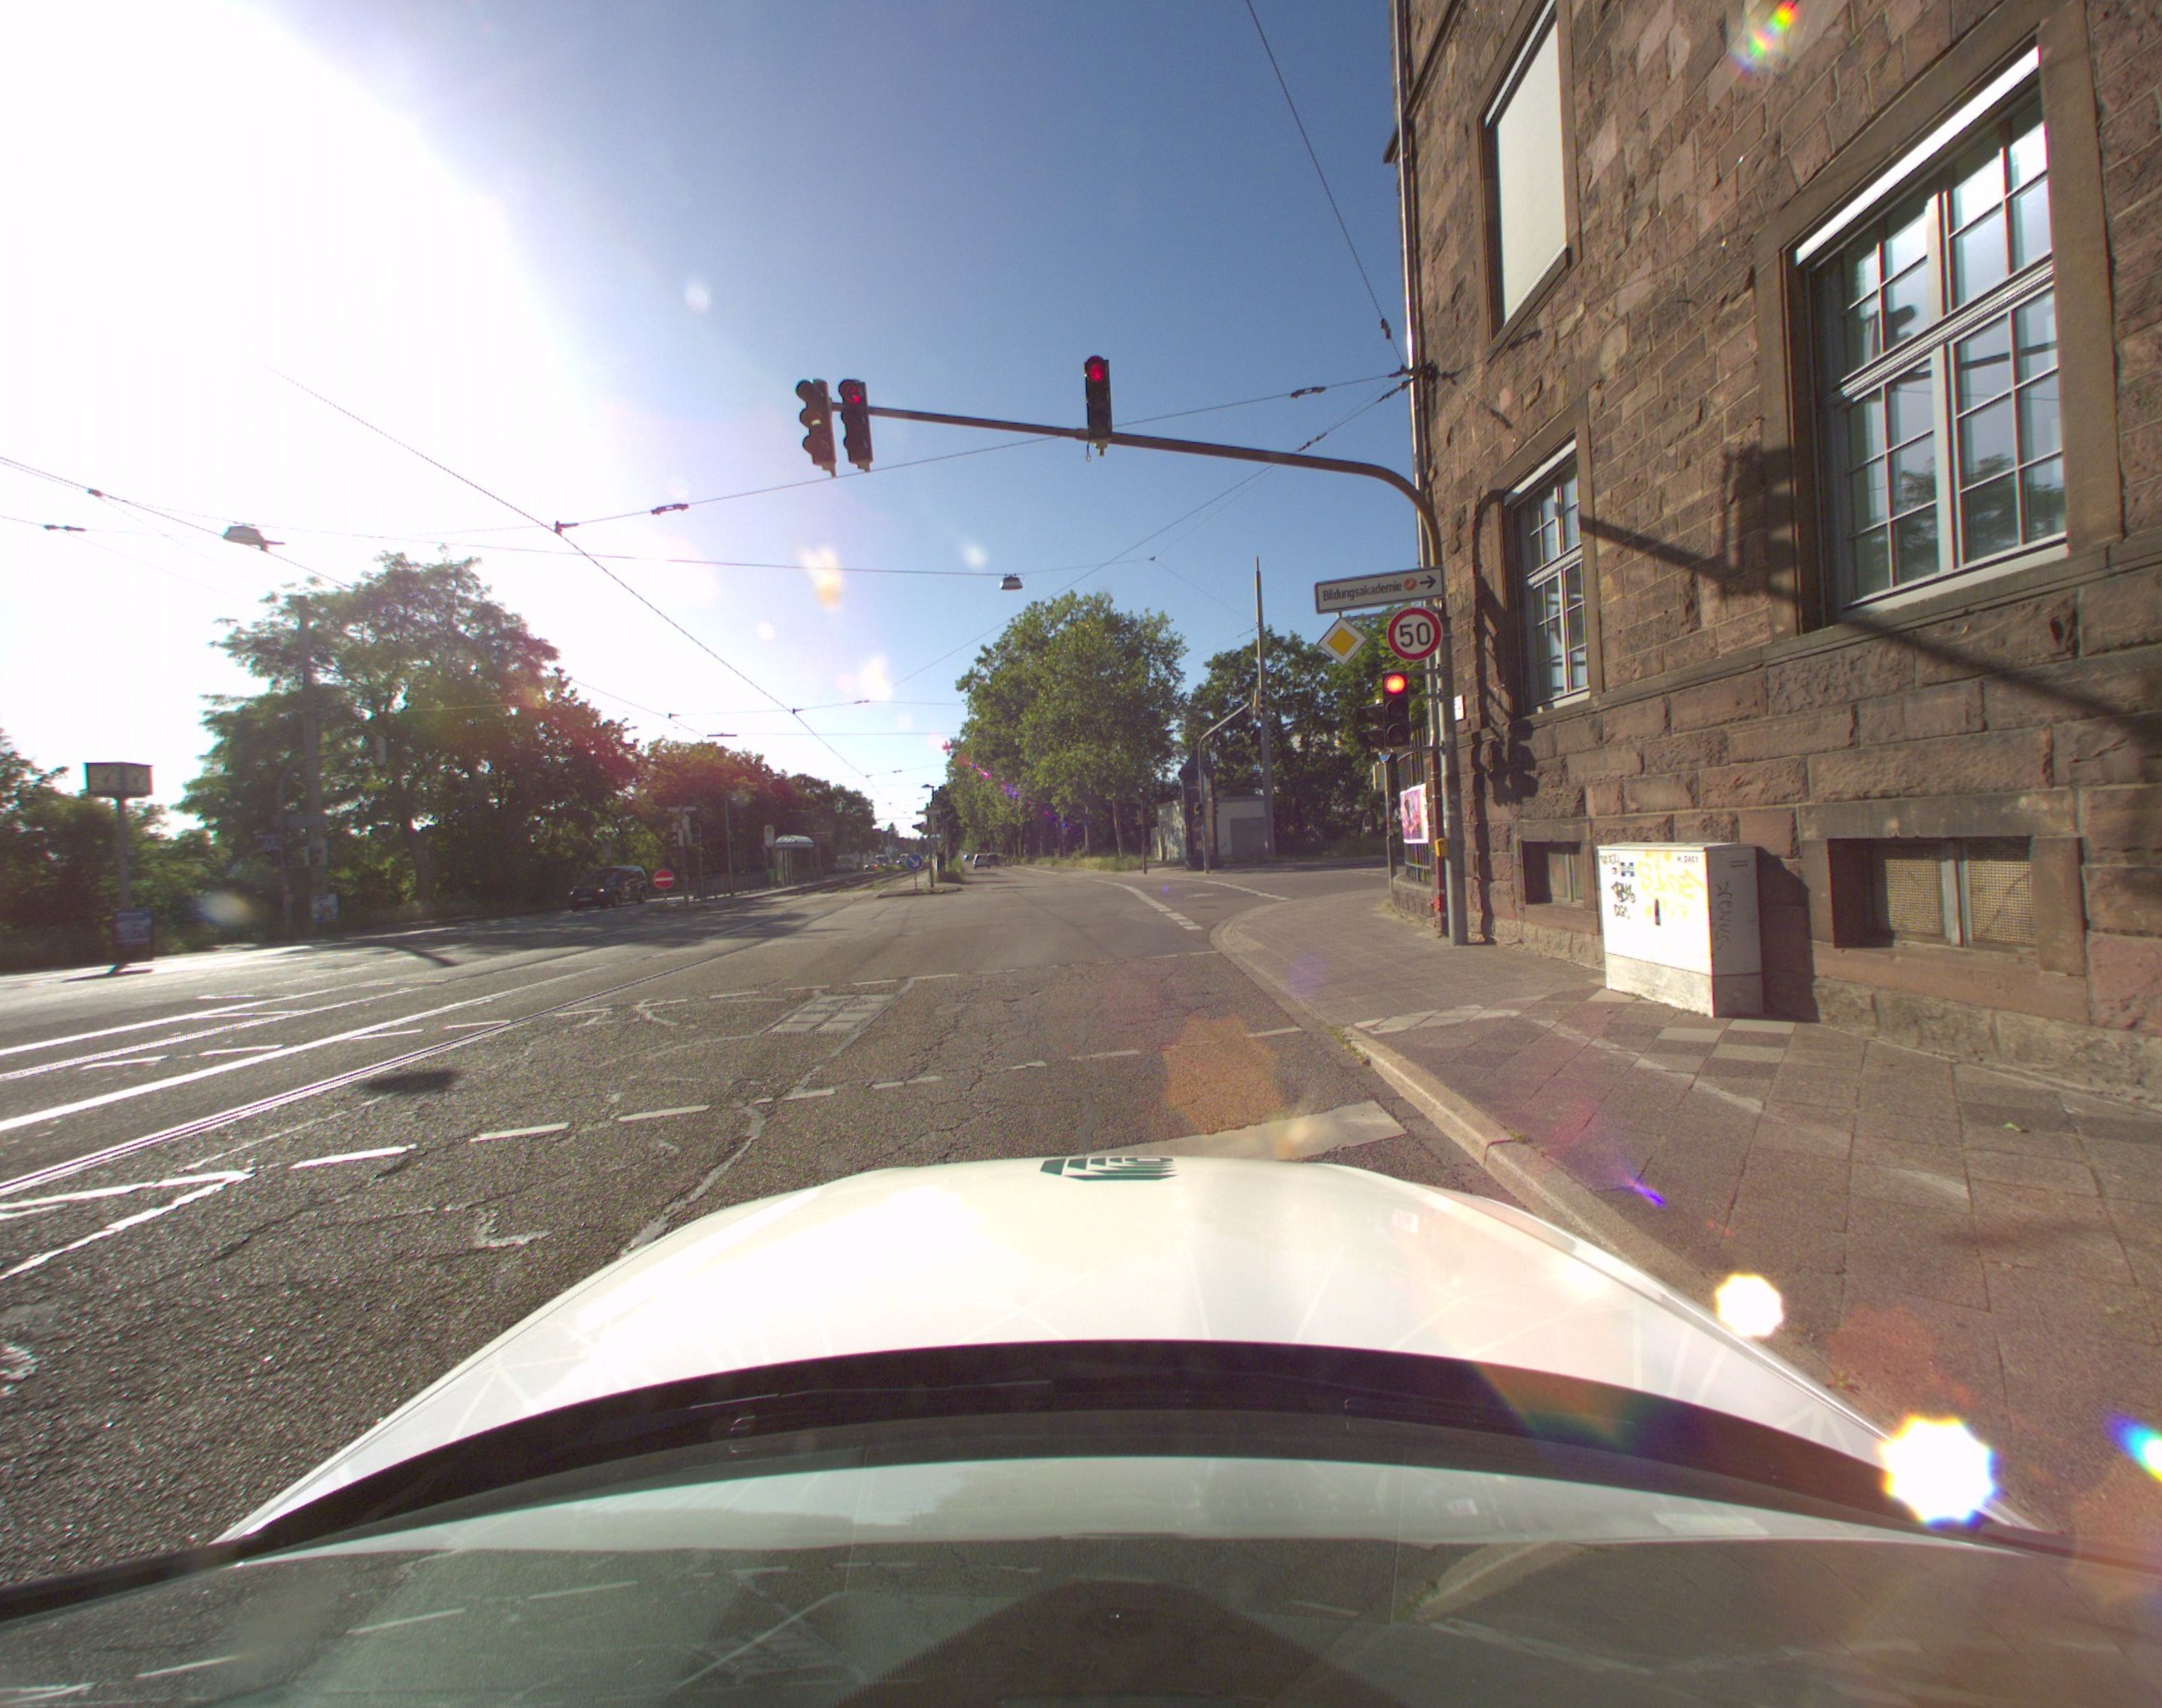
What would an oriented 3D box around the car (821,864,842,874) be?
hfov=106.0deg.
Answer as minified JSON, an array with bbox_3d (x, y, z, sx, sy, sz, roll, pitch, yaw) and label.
[{"bbox_3d":[-34.168,2.039,111.614,1.919,1.266,3.991,-4,0,-7],"label":"car"}]

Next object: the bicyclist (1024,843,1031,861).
[{"bbox_3d":[-5.441,-0.184,82.833,0.534,1.769,0.710,-4,0,-11],"label":"bicyclist"}]

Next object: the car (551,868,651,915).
[{"bbox_3d":[-20.778,1.556,35.519,1.993,1.767,5.014,-4,0,-9],"label":"car"}]

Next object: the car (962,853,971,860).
[{"bbox_3d":[-27.033,0.534,192.299,1.750,1.604,3.569,-4,1,-9],"label":"car"}]

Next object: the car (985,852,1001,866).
[{"bbox_3d":[-10.825,0.570,100.359,1.750,1.604,3.739,-3,0,-8],"label":"car"}]

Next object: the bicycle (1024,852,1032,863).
[{"bbox_3d":[-5.394,0.341,82.751,0.536,1.066,1.428,-4,0,-10],"label":"bicycle"}]

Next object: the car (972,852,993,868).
[{"bbox_3d":[-9.797,0.560,80.779,1.867,1.486,3.545,-3,0,-8],"label":"car"}]

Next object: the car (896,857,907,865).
[{"bbox_3d":[-39.124,1.498,177.388,1.994,1.469,4.361,-3,0,-10],"label":"car"}]

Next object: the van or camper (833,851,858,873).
[{"bbox_3d":[-35.833,1.244,124.232,2.589,3.106,6.768,-4,0,-9],"label":"van or camper"}]

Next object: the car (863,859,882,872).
[{"bbox_3d":[-29.863,1.648,116.720,1.919,1.567,3.991,-4,0,-7],"label":"car"}]
